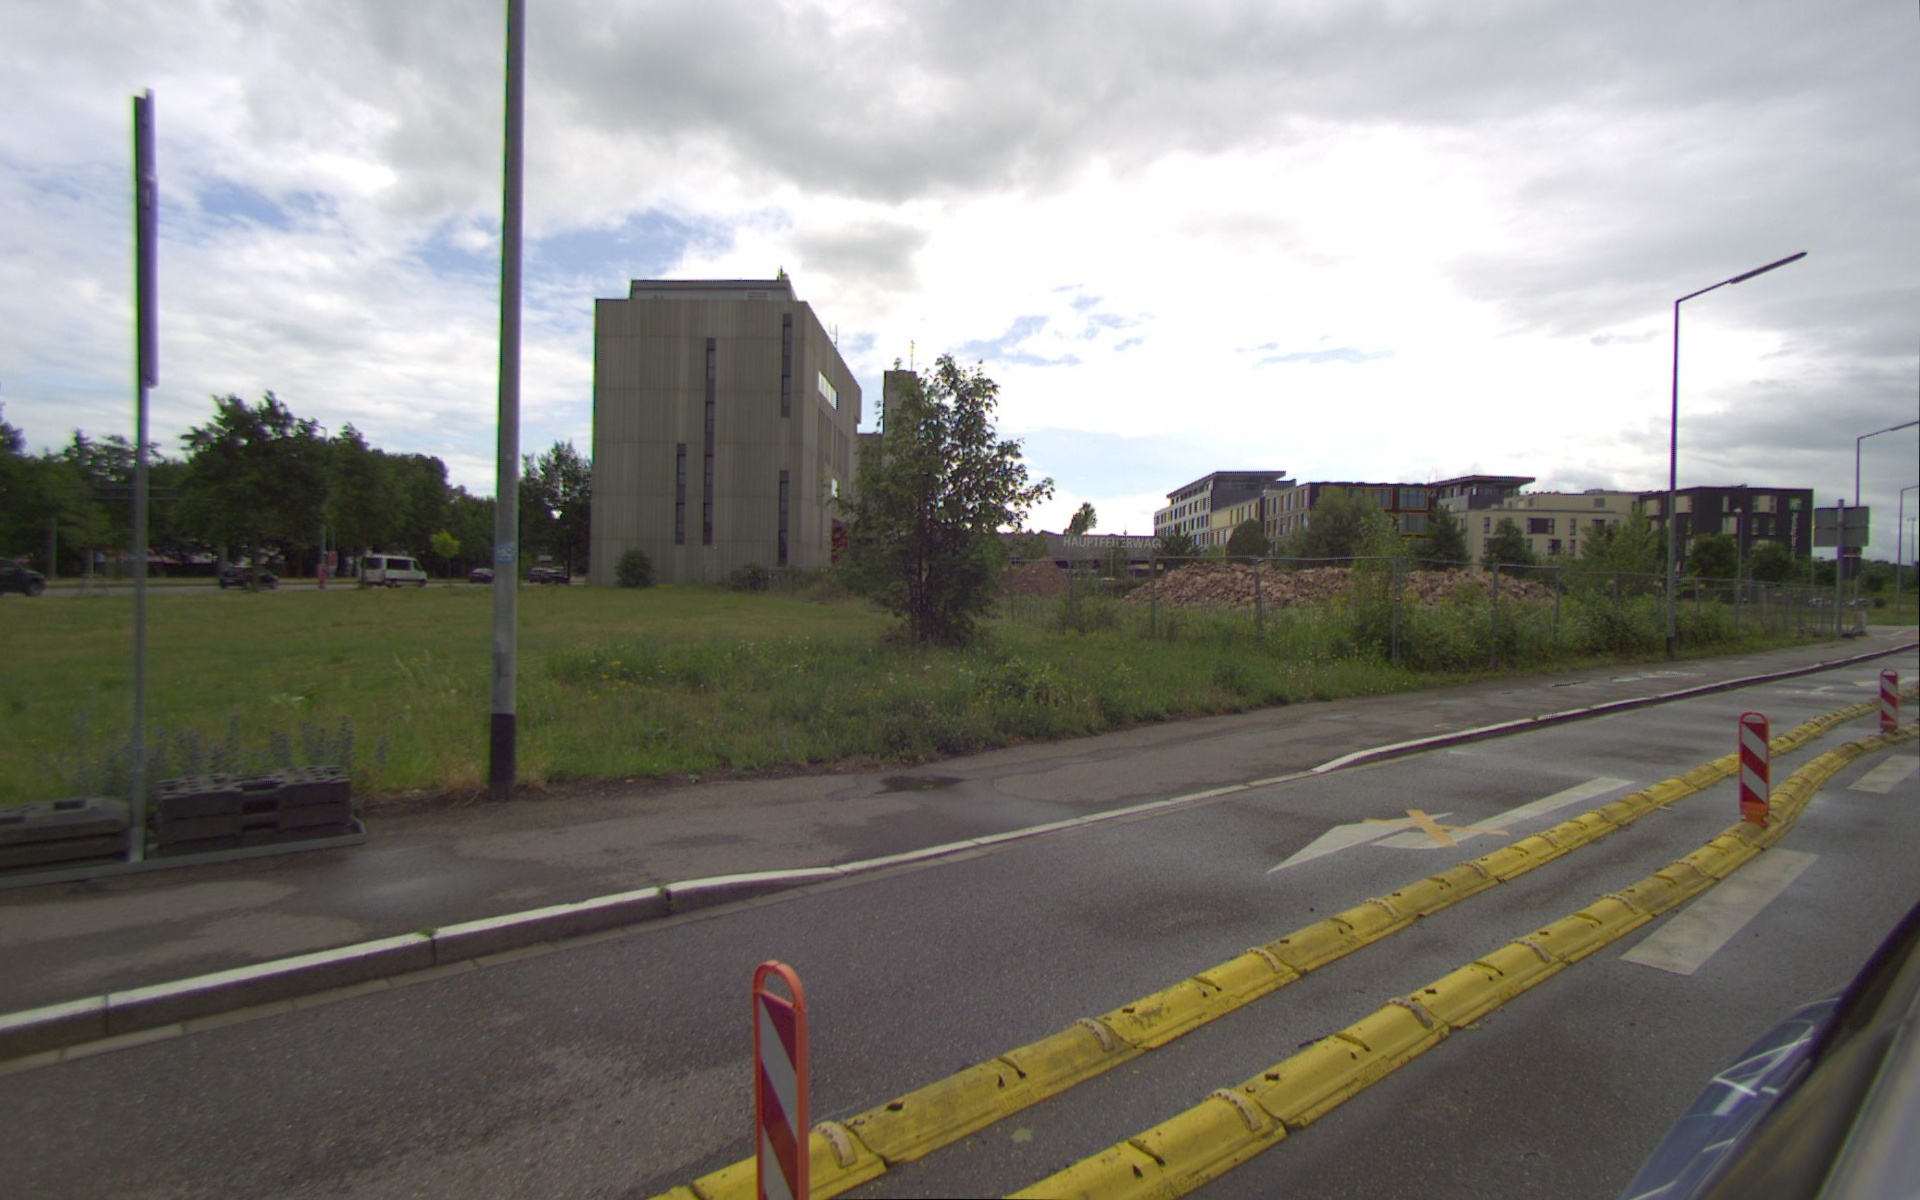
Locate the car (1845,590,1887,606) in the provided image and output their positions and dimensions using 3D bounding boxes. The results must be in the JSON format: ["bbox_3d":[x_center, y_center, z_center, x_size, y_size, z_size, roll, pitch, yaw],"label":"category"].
[{"bbox_3d":[126.155,-0.304,140.879,3.925,2.039,2.000,1,1,1],"label":"car"}]

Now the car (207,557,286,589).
[{"bbox_3d":[-44.187,-1.684,62.753,1.964,1.872,3.997,1,1,3],"label":"car"}]

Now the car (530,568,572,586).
[{"bbox_3d":[-42.513,-2.381,105.348,2.079,1.817,4.601,1,1,6],"label":"car"}]

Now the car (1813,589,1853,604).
[{"bbox_3d":[127.639,-0.487,147.962,3.925,2.039,2.000,1,1,1],"label":"car"}]

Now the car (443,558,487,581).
[{"bbox_3d":[-45.903,-2.790,93.908,1.963,2.039,3.998,1,1,2],"label":"car"}]

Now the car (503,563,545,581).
[{"bbox_3d":[-45.491,-2.941,105.628,2.079,1.817,4.601,1,1,6],"label":"car"}]

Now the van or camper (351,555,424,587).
[{"bbox_3d":[-40.460,-2.065,71.710,1.963,2.142,5.551,1,1,1],"label":"van or camper"}]

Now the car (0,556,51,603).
[{"bbox_3d":[-42.197,-0.908,43.248,2.182,1.996,5.042,1,1,0],"label":"car"}]
